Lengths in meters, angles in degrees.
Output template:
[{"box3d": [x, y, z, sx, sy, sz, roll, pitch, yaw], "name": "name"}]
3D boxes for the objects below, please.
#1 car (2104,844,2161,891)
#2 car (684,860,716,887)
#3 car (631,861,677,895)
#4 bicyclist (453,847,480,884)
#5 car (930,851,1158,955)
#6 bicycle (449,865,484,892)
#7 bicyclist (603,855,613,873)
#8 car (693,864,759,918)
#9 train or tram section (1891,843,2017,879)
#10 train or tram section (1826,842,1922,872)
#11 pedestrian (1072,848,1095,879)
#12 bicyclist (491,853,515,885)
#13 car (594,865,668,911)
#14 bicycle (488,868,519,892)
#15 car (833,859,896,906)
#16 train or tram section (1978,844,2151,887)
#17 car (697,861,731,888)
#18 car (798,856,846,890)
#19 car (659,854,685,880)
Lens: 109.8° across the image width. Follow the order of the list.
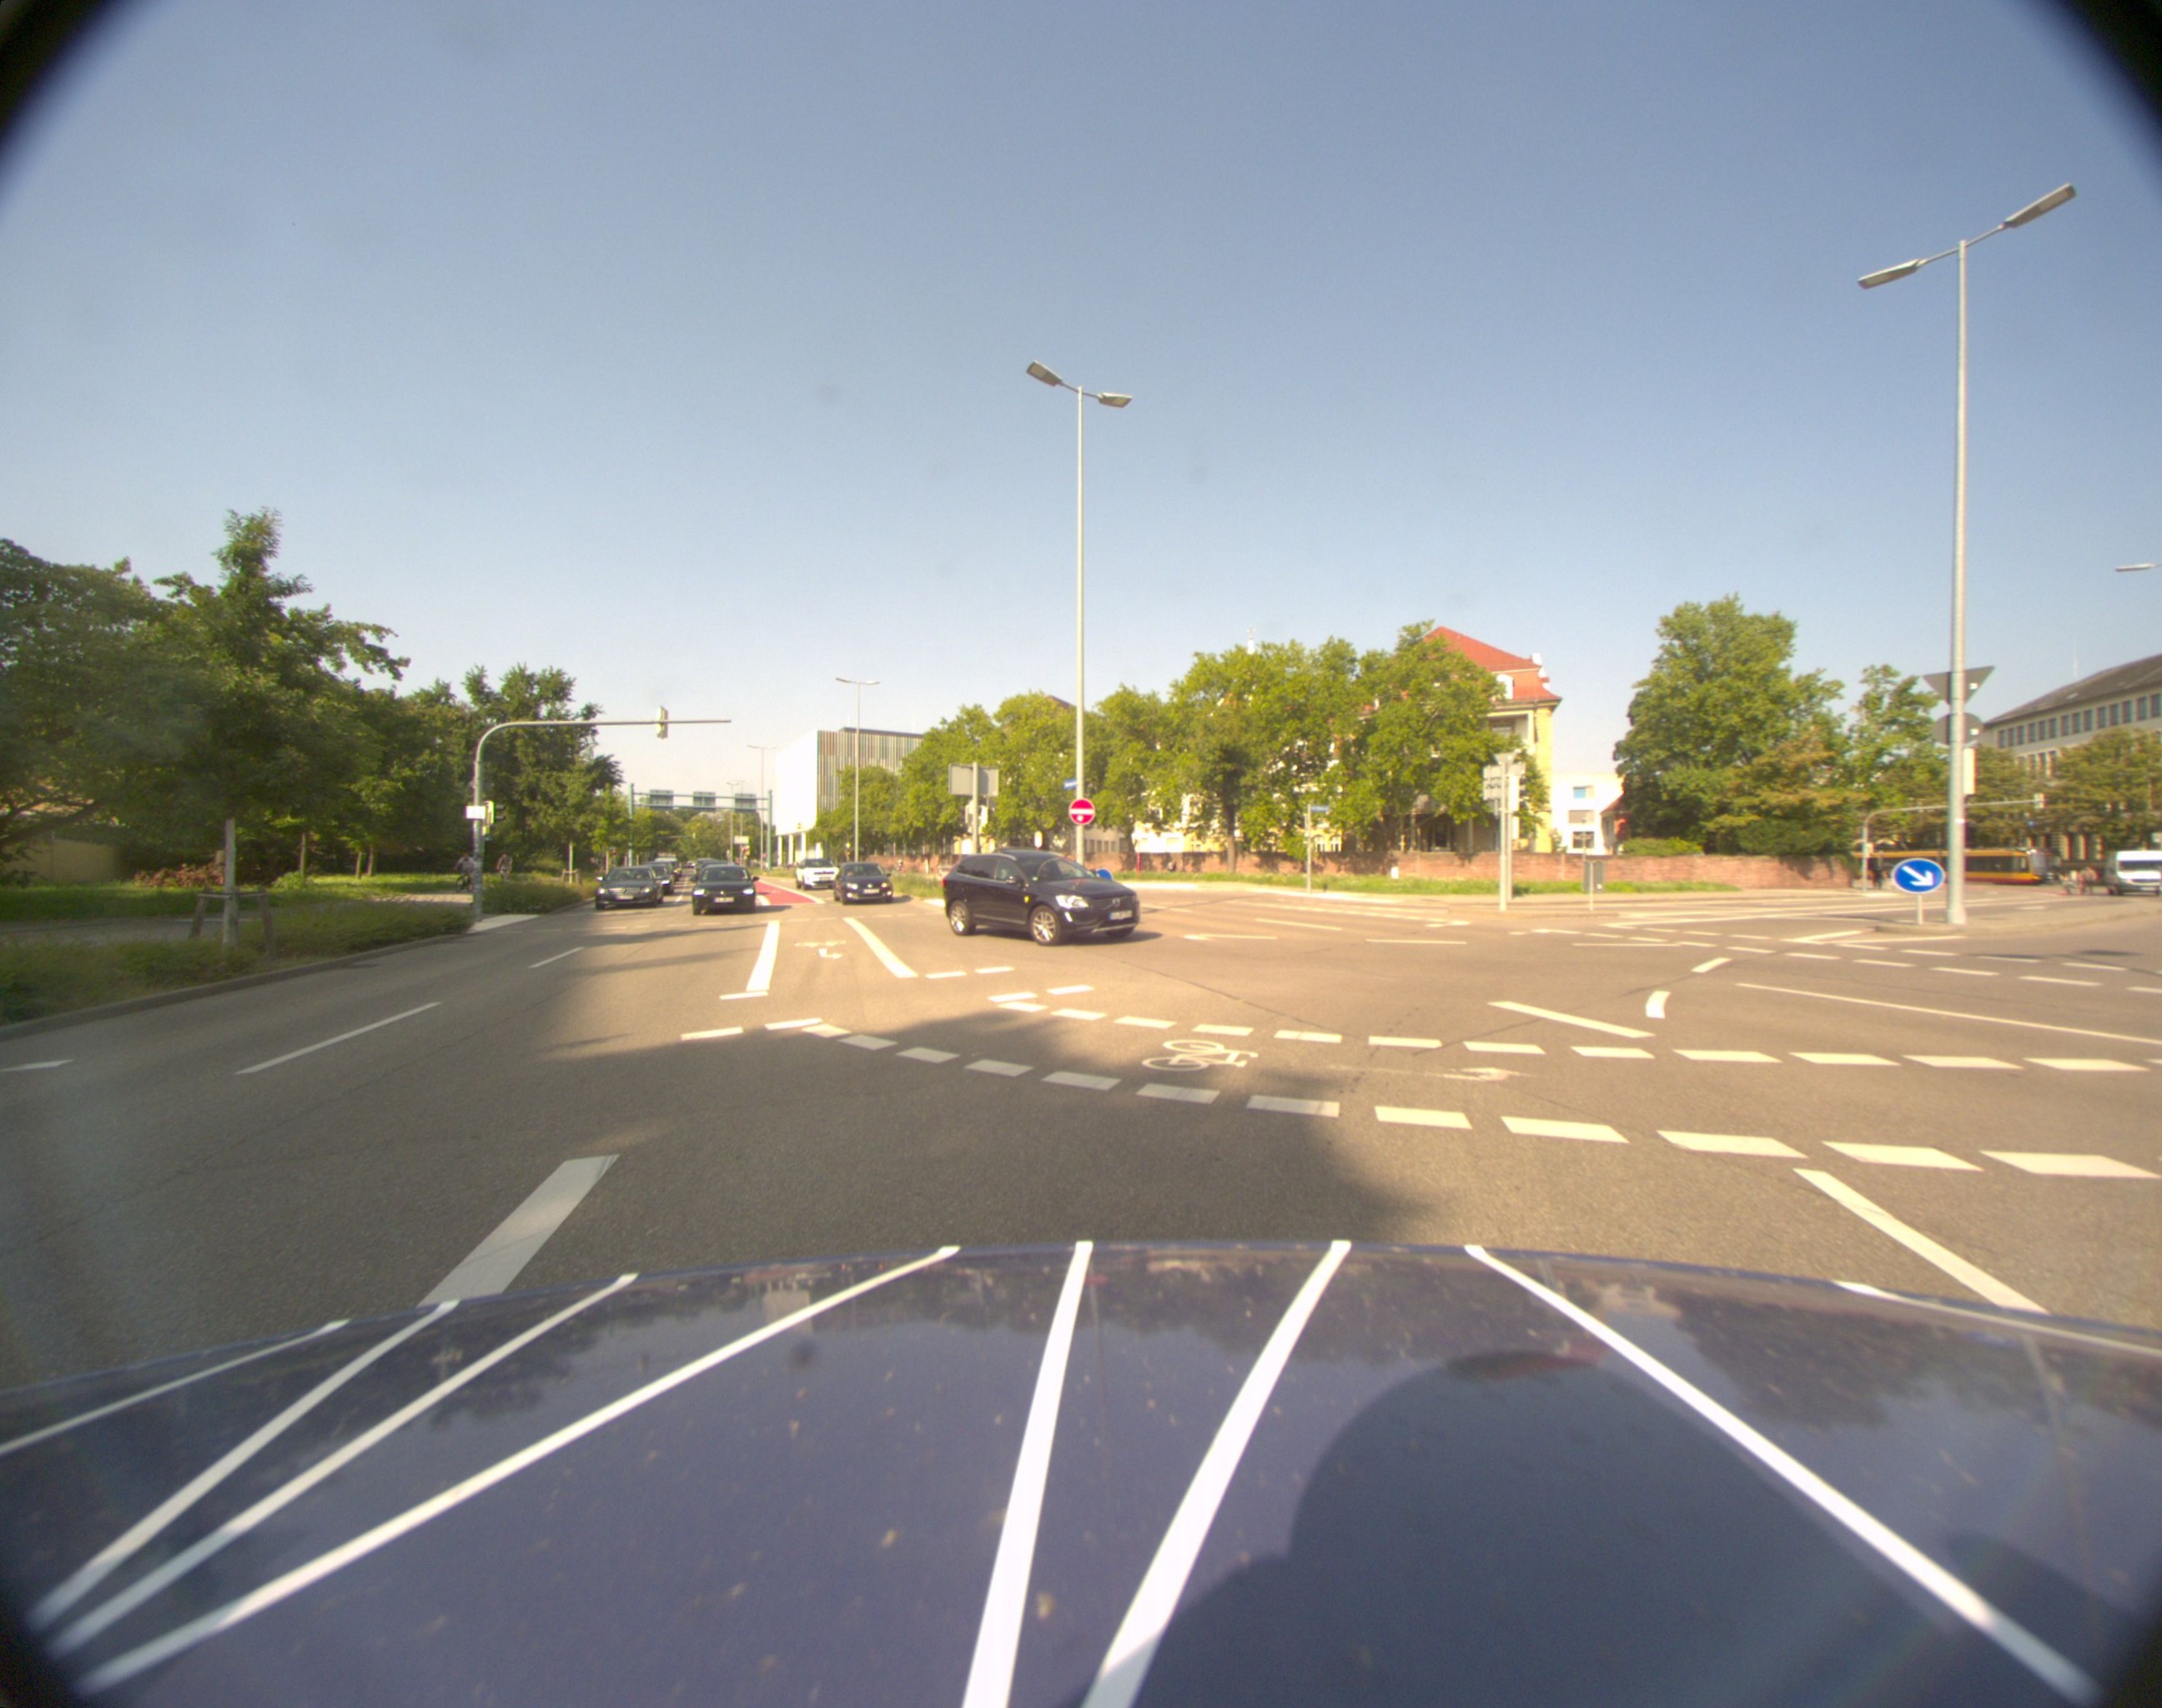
[{"box3d": [60.796, 0.713, 43.801, 5.561, 2.437, 1.995, -3, 1, -35], "name": "car"}, {"box3d": [-25.260, 1.233, 50.360, 1.786, 1.597, 4.410, 1, 1, -27], "name": "car"}, {"box3d": [-20.510, 1.102, 36.614, 1.690, 1.483, 4.663, 0, 0, -27], "name": "car"}, {"box3d": [-27.175, 0.510, 33.605, 0.775, 1.583, 0.922, 0, 0, -28], "name": "bicyclist"}, {"box3d": [-0.843, 0.836, 14.481, 2.004, 1.623, 4.360, -2, 0, -42], "name": "car"}, {"box3d": [-27.229, 1.074, 33.707, 0.775, 1.111, 2.298, 0, 0, -28], "name": "bicycle"}, {"box3d": [-44.289, 0.904, 71.139, 0.775, 1.666, 0.922, -1, 1, -29], "name": "bicyclist"}, {"box3d": [-10.983, 1.058, 23.485, 1.690, 1.483, 4.363, 0, 0, -26], "name": "car"}, {"box3d": [90.121, 0.590, 78.913, 2.630, 3.198, 13.911, -2, 1, 23], "name": "train or tram section"}, {"box3d": [95.375, 0.225, 91.798, 2.630, 3.198, 13.911, -2, 1, 23], "name": "train or tram section"}, {"box3d": [0.144, 0.633, 50.144, 1.080, 2.002, 1.316, -1, 1, -23], "name": "pedestrian"}, {"box3d": [-29.088, 0.752, 38.264, 0.774, 1.583, 0.922, -1, 1, -26], "name": "bicyclist"}, {"box3d": [-15.699, 1.113, 26.701, 1.690, 1.434, 4.363, 0, 0, -24], "name": "car"}, {"box3d": [-29.105, 1.296, 38.307, 0.774, 1.111, 2.299, -1, 0, -26], "name": "bicycle"}, {"box3d": [-7.763, 0.953, 27.031, 1.627, 1.489, 3.842, -1, 0, -24], "name": "car"}, {"box3d": [84.783, 0.824, 66.098, 2.630, 3.198, 13.911, -2, 1, 23], "name": "train or tram section"}, {"box3d": [-21.335, 1.149, 44.125, 1.690, 1.483, 4.362, 0, 0, -27], "name": "car"}, {"box3d": [-13.572, 0.932, 39.675, 2.002, 1.624, 4.363, -2, 1, -24], "name": "car"}, {"box3d": [-31.873, 1.012, 59.152, 1.691, 1.930, 4.362, 0, 0, -29], "name": "car"}]
